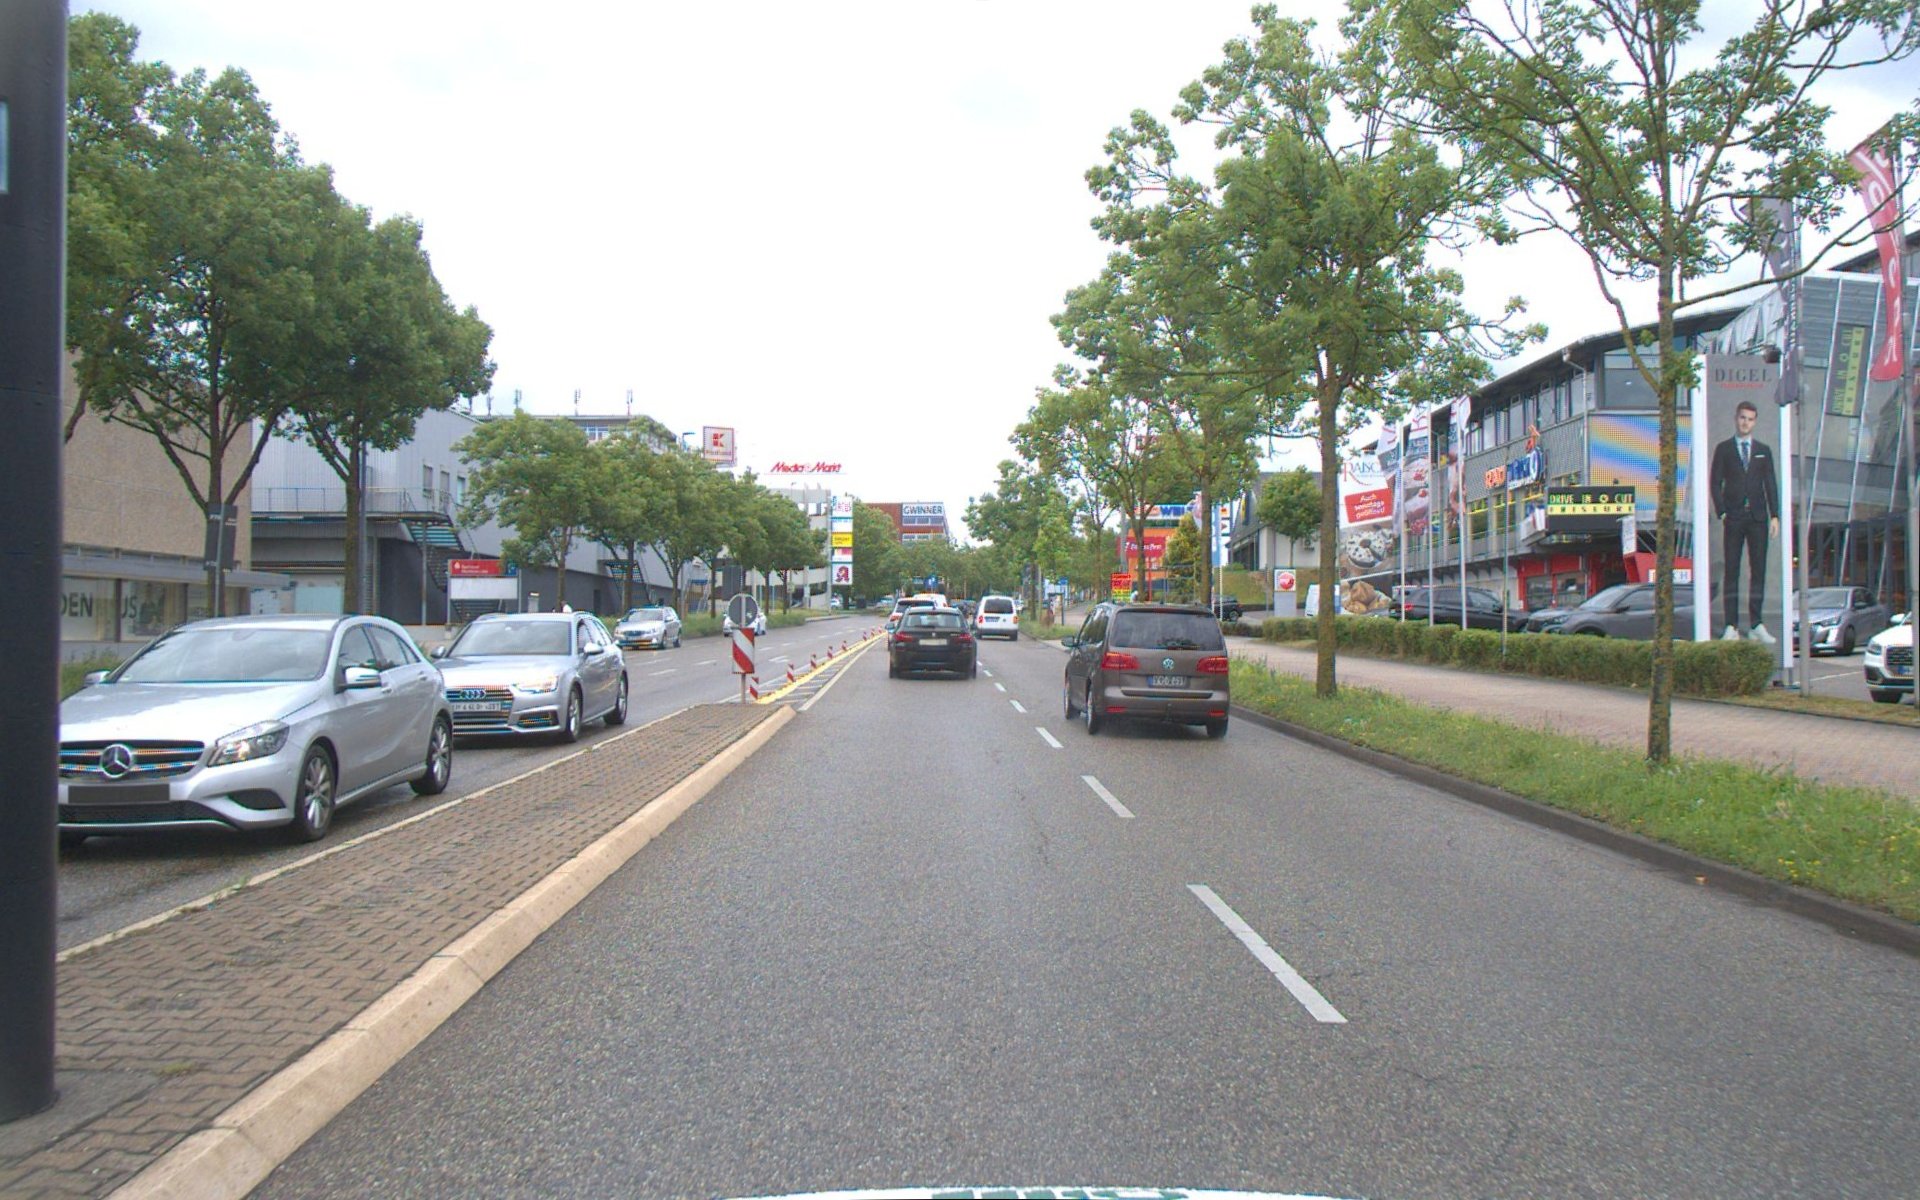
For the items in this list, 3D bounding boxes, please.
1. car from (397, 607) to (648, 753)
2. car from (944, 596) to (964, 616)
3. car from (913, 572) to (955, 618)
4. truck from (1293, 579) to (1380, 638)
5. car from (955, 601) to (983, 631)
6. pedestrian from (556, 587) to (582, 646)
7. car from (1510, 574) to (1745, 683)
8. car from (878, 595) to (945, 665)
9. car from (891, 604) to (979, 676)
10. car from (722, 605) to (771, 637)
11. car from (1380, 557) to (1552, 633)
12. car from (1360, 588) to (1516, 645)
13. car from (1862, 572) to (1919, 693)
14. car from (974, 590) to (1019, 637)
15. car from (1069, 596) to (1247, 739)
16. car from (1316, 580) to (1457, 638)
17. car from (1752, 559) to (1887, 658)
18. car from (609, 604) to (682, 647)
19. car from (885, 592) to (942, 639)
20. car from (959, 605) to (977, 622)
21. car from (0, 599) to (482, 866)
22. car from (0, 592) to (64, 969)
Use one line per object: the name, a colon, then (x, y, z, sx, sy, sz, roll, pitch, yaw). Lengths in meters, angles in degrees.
car: (-4.953, 0.858, 19.400, 1.688, 1.422, 4.788, -2, -1, -1)
car: (-0.540, 0.505, 137.761, 1.562, 1.500, 3.443, 2, -2, -1)
car: (-1.249, -0.225, 80.565, 1.953, 2.049, 3.999, 2, -2, 0)
truck: (16.296, 0.430, 71.846, 2.393, 2.389, 5.456, 2, -2, -1)
car: (0.578, 0.986, 101.305, 1.650, 1.713, 3.402, 2, -2, 0)
pedestrian: (-14.991, 0.640, 63.416, 0.842, 2.257, 0.845, 0, -1, -4)
car: (13.393, 0.561, 33.338, 4.026, 2.143, 1.800, 0, 0, 1)
car: (-1.316, 0.831, 45.821, 1.745, 1.824, 3.999, 1, -1, -1)
car: (-0.533, 0.834, 35.146, 1.745, 1.422, 3.999, 1, -1, -1)
car: (-10.306, 1.028, 80.179, 1.904, 1.474, 3.999, 1, -1, -1)
car: (13.448, -0.120, 44.124, 4.026, 1.938, 1.800, -1, 0, 1)
car: (13.568, 0.466, 47.143, 4.024, 1.563, 1.801, 0, 0, 5)
car: (13.842, 0.399, 22.323, 3.565, 1.563, 1.771, -1, 0, -40)
car: (1.521, 0.594, 70.069, 1.745, 1.899, 3.999, -1, -1, -1)
car: (2.455, 0.805, 21.519, 1.764, 1.615, 4.450, 2, -1, 0)
car: (13.195, 0.277, 51.348, 4.024, 1.733, 1.801, 0, 0, 5)
car: (18.378, 0.174, 35.296, 1.763, 1.975, 4.020, 0, 0, 40)
car: (-11.233, 0.910, 59.250, 1.904, 1.478, 3.999, 1, -1, -1)
car: (-1.485, 0.510, 53.655, 1.745, 1.422, 3.999, 1, -1, -1)
car: (0.761, 1.256, 154.161, 1.587, 1.521, 3.359, 2, -2, -1)
car: (-4.931, 0.765, 11.615, 1.804, 1.401, 4.861, -3, 0, -2)
car: (-4.723, 0.716, 4.710, 1.709, 1.515, 4.828, 0, -1, 0)
